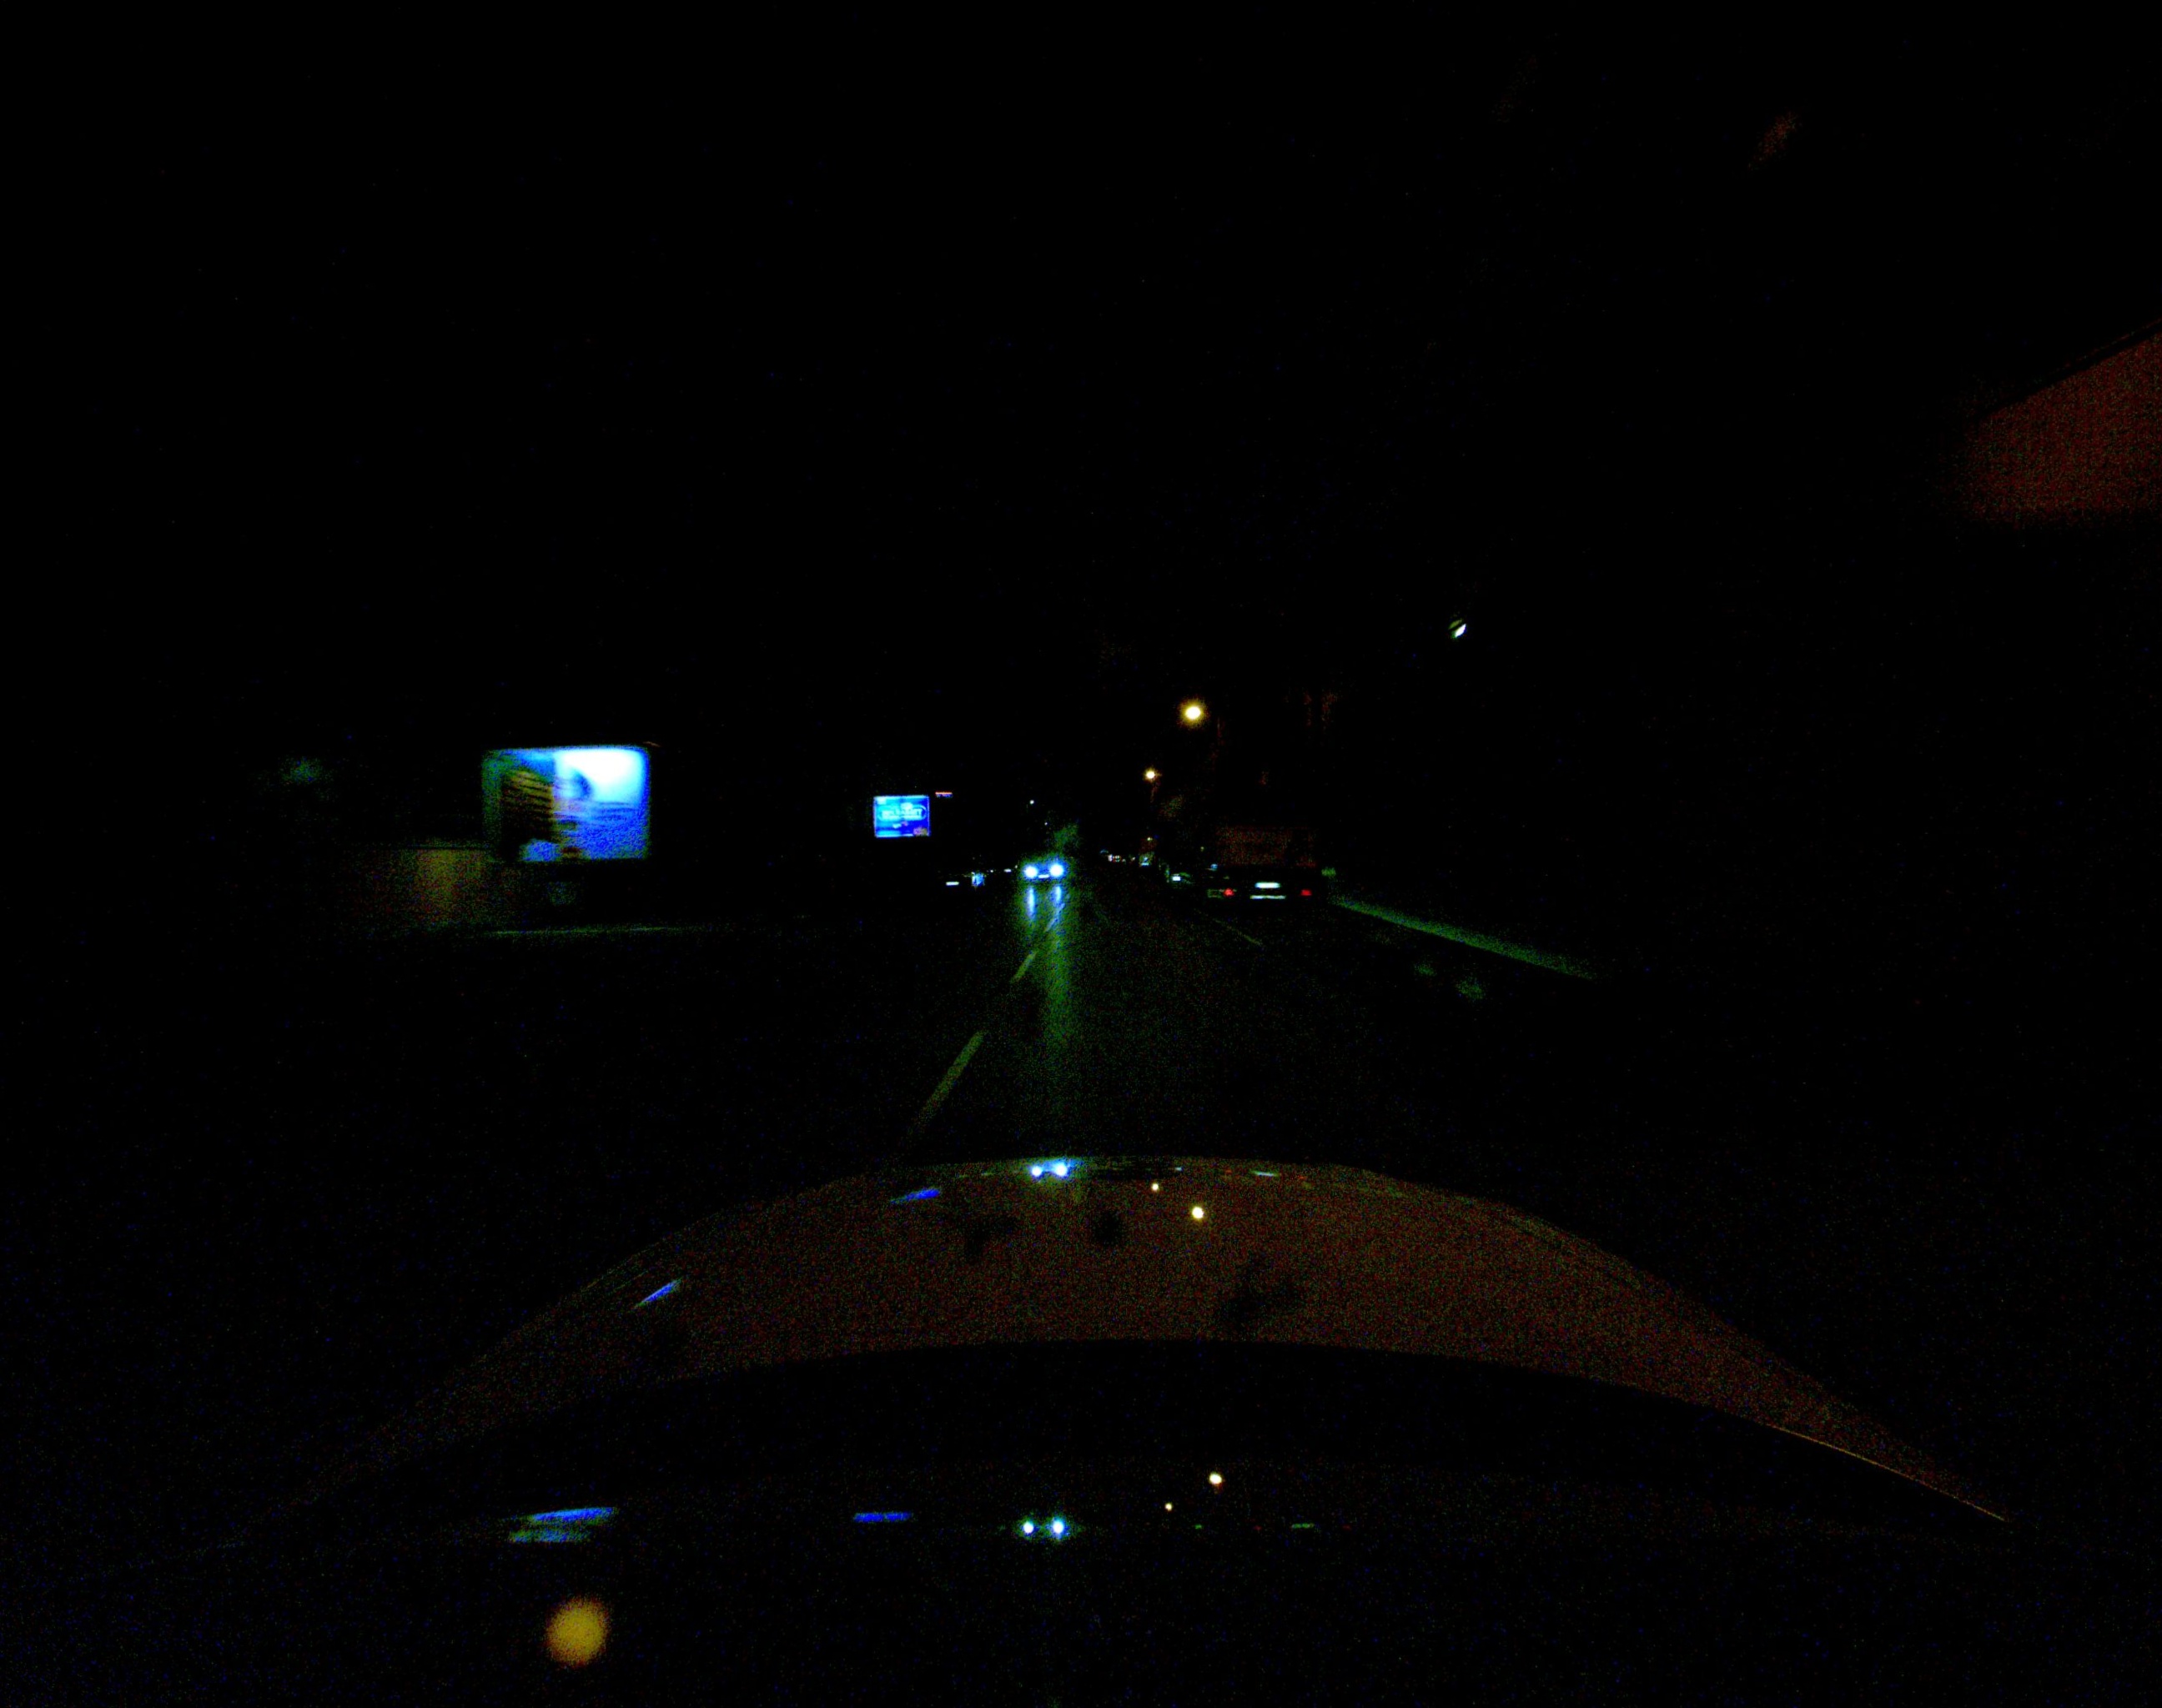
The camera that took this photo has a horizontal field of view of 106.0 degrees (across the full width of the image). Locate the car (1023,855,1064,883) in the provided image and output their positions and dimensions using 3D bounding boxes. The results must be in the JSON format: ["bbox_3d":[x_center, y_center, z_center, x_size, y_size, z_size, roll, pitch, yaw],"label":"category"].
[{"bbox_3d":[-2.037,0.804,45.498,1.986,1.398,4.001,-2,0,1],"label":"car"}]

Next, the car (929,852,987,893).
[{"bbox_3d":[-5.774,0.824,38.637,1.986,1.794,4.001,-2,0,1],"label":"car"}]

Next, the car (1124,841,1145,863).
[{"bbox_3d":[5.636,-0.200,85.930,1.986,2.145,4.001,-2,0,1],"label":"car"}]

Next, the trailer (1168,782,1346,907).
[{"bbox_3d":[4.701,-0.170,24.474,3.172,2.749,10.718,-3,-1,2],"label":"trailer"}]

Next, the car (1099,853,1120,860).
[{"bbox_3d":[6.312,0.541,180.852,4.510,1.379,2.003,-1,-1,4],"label":"car"}]

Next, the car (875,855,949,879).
[{"bbox_3d":[-11.477,0.872,55.137,4.631,1.485,1.986,-2,0,-21],"label":"car"}]

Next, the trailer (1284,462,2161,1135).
[{"bbox_3d":[4.417,-0.281,8.148,2.679,3.464,7.805,-1,-1,-1],"label":"trailer"}]

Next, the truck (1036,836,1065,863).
[{"bbox_3d":[-4.442,-0.661,115.659,3.883,3.621,8.248,-2,0,-4],"label":"truck"}]

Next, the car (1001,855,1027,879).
[{"bbox_3d":[-5.251,0.979,64.097,1.893,1.736,4.350,-2,0,-3],"label":"car"}]

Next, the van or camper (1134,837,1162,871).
[{"bbox_3d":[5.314,0.031,65.375,1.986,2.581,4.917,-2,0,2],"label":"van or camper"}]

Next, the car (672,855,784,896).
[{"bbox_3d":[-15.380,0.919,35.690,3.976,1.651,1.999,-2,0,-2],"label":"car"}]

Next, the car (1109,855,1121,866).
[{"bbox_3d":[5.685,1.059,136.305,1.986,1.684,4.001,-2,0,1],"label":"car"}]

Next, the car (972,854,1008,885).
[{"bbox_3d":[-5.476,0.894,49.460,1.673,1.736,4.354,-2,0,0],"label":"car"}]

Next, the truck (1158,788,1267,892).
[{"bbox_3d":[4.876,-0.464,31.619,3.140,3.463,6.675,-3,-1,1],"label":"truck"}]

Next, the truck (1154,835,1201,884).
[{"bbox_3d":[5.090,0.294,43.782,1.986,2.407,5.294,-2,0,2],"label":"truck"}]
